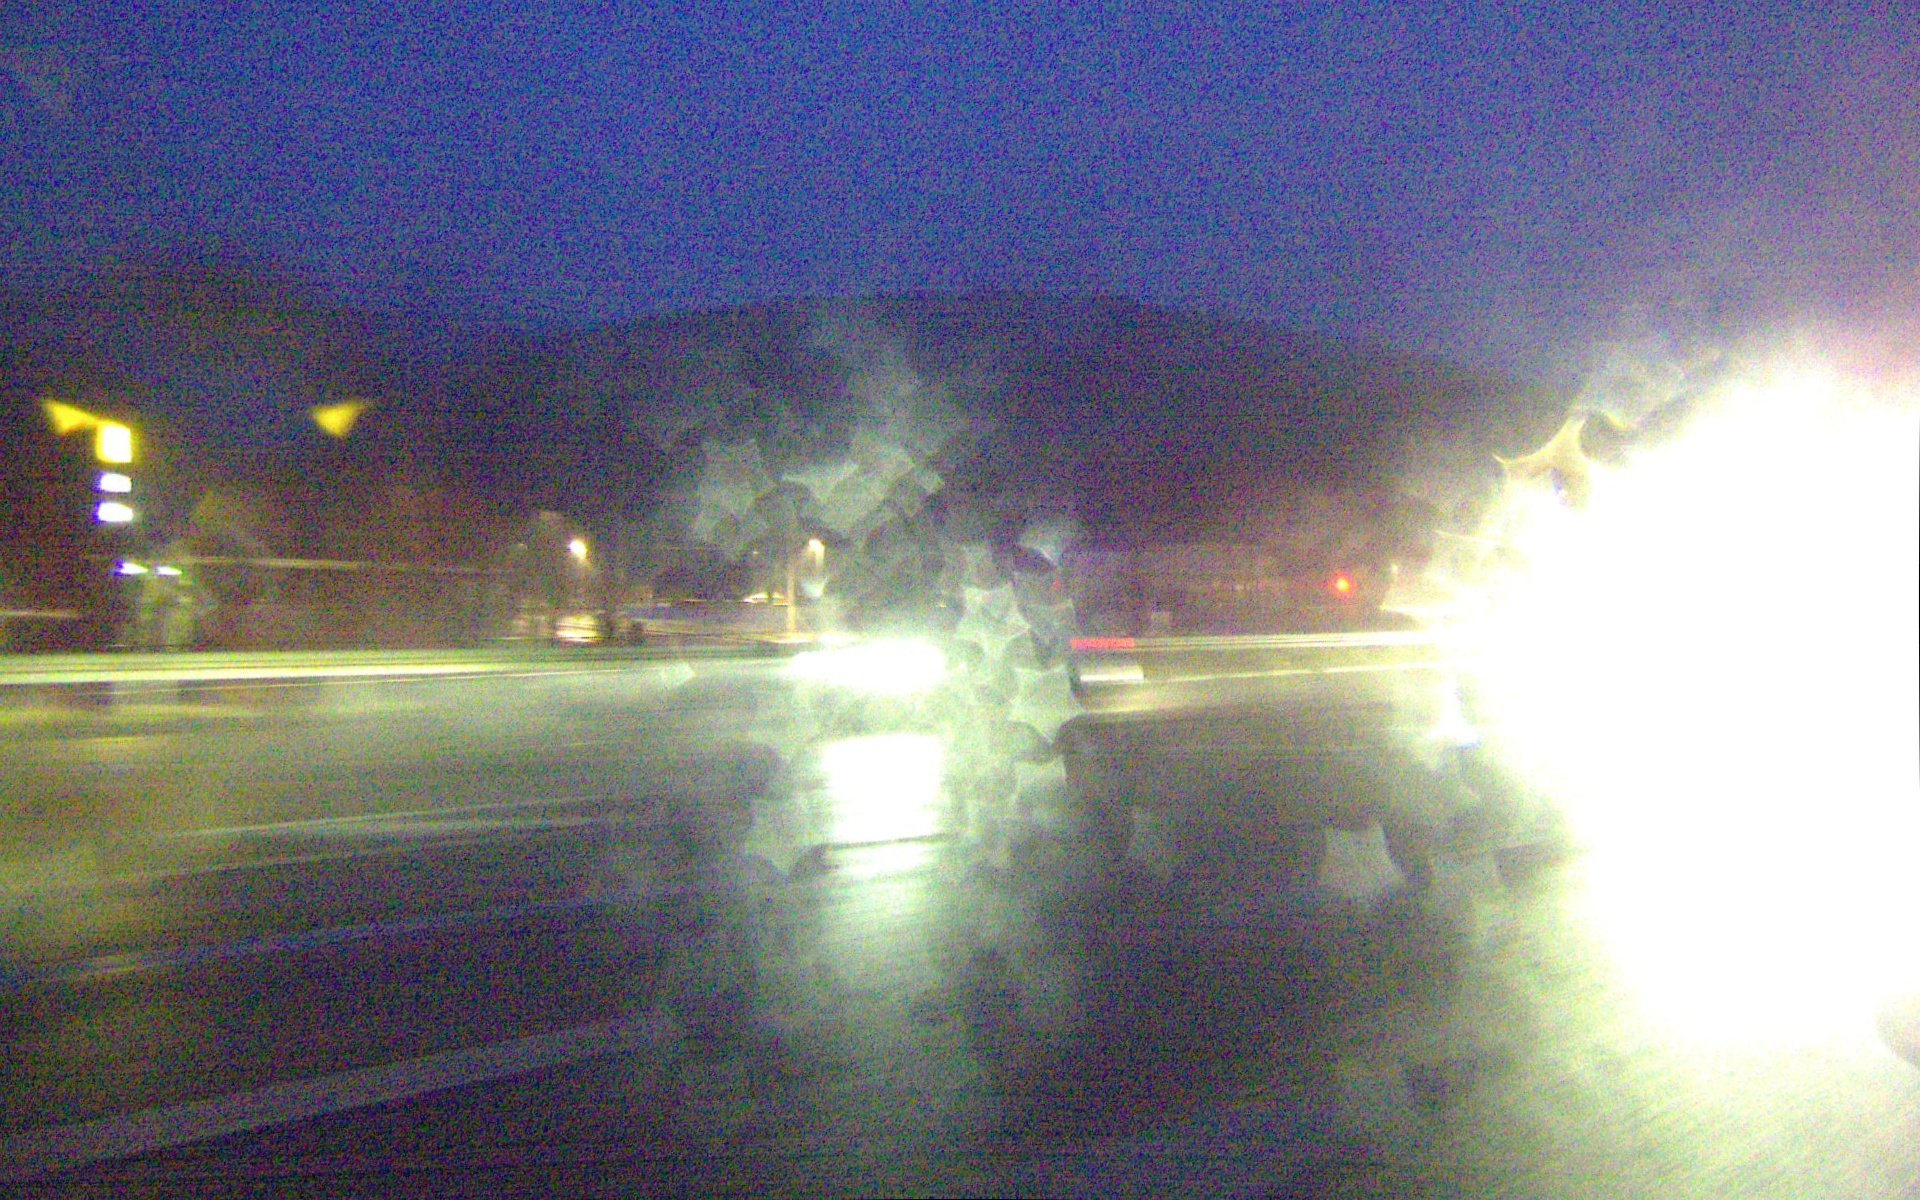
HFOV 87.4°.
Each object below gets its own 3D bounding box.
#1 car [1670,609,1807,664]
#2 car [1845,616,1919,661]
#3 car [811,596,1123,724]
[{"bbox_3d":[21.803,1.003,28.101,4.207,1.416,1.864,1,-1,-35],"label":"car"},{"bbox_3d":[35.067,1.419,37.480,4.508,1.528,1.981,1,1,-34],"label":"car"},{"bbox_3d":[0.138,0.742,13.269,3.815,1.460,1.780,1,-2,-34],"label":"car"}]
